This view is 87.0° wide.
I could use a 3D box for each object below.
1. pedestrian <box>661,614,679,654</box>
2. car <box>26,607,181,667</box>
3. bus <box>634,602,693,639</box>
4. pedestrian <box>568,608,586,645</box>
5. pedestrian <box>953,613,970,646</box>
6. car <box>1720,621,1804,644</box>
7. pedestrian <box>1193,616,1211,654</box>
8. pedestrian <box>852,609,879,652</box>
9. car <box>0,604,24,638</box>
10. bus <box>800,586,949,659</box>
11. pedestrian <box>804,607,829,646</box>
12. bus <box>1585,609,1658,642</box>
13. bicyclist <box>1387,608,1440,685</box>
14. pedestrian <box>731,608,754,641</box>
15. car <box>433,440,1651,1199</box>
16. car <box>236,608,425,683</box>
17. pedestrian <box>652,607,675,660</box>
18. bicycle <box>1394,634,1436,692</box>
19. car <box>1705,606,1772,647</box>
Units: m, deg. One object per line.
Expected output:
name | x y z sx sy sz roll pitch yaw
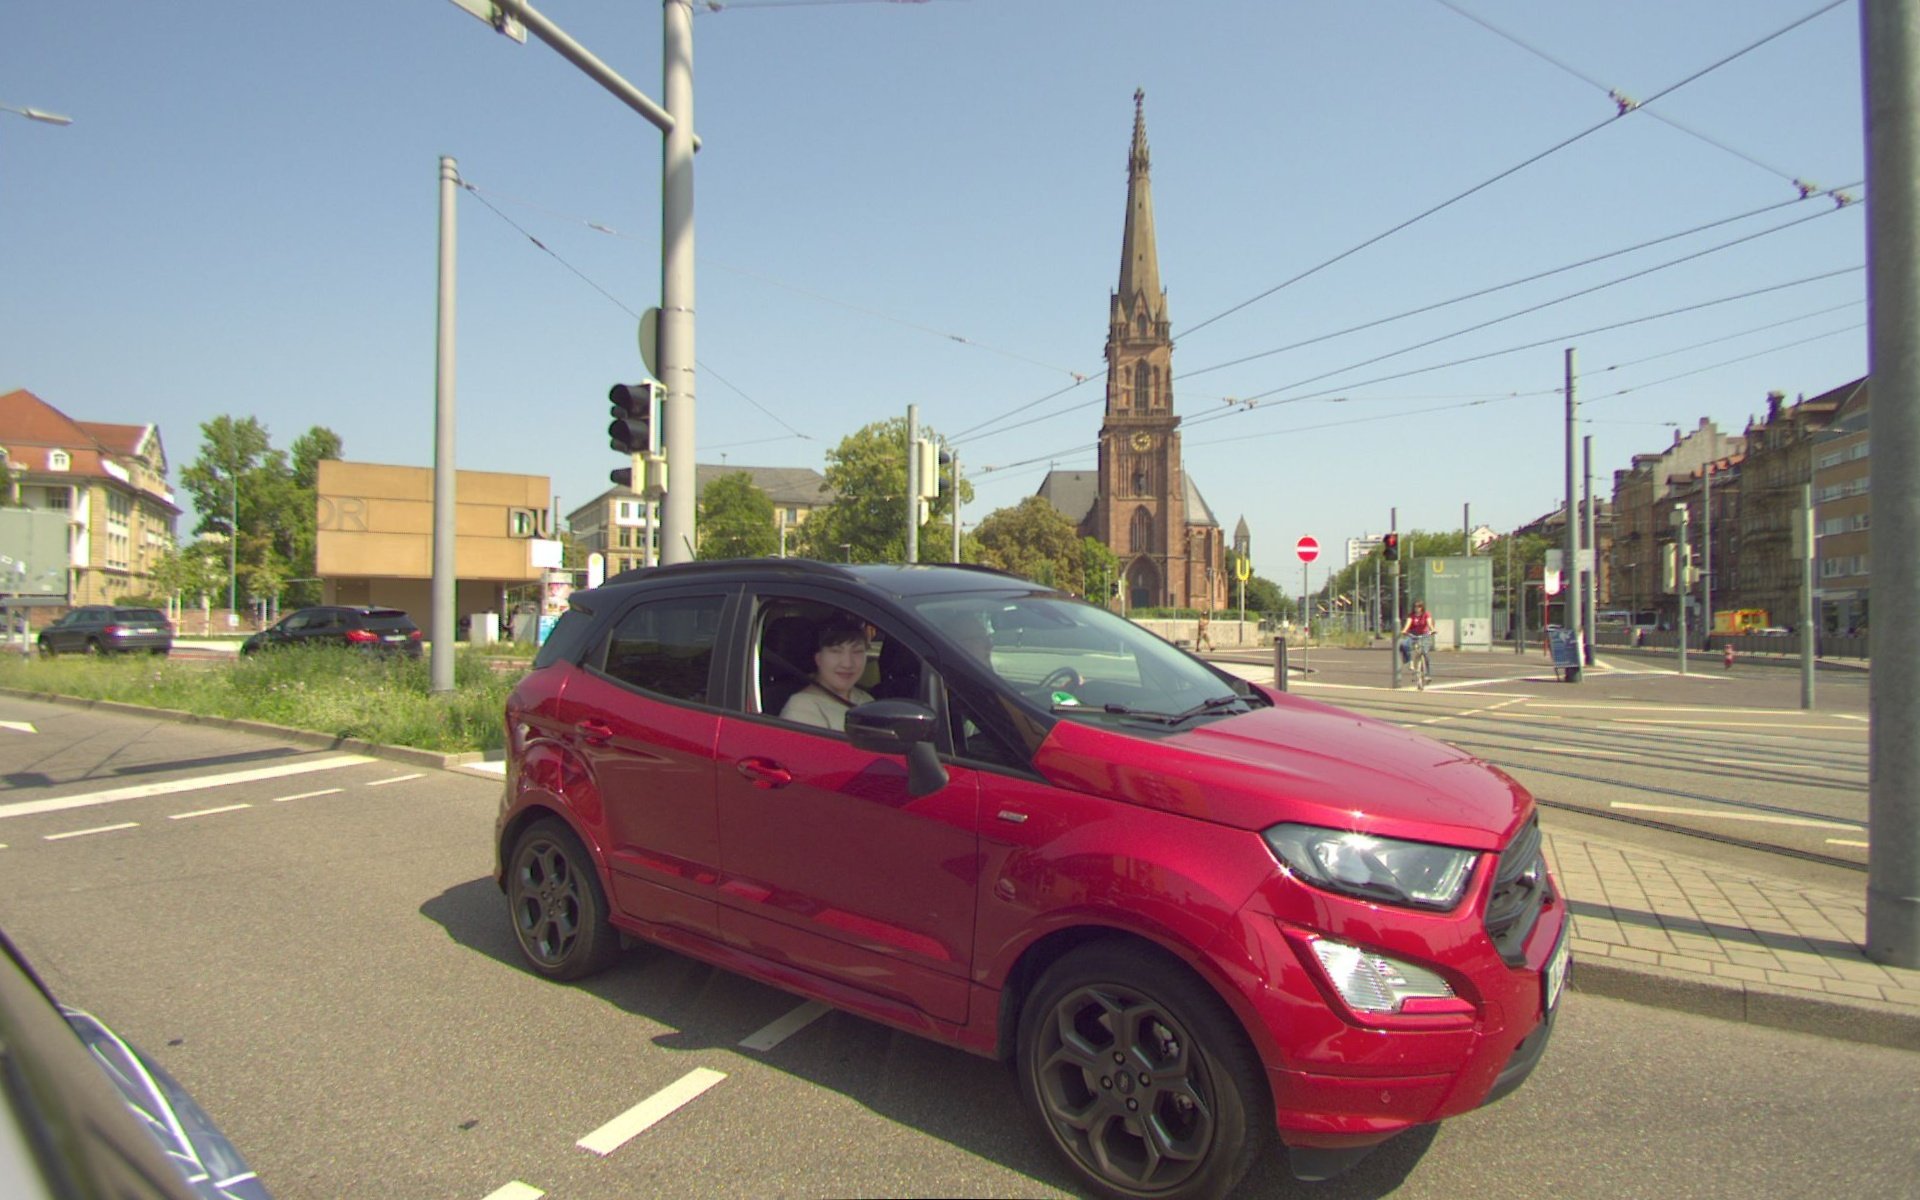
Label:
pedestrian | -10.079 1.170 35.193 0.349 1.385 0.456 -1 -2 36
car | -25.468 1.079 30.081 4.633 1.665 1.885 -1 -2 27
bus | -27.202 1.787 92.351 2.498 3.054 12.475 0 0 -29
pedestrian | -17.125 1.184 45.256 0.508 1.658 0.567 0 0 19
pedestrian | 0.066 1.405 47.867 0.567 1.540 0.602 2 -3 -28
car | 51.802 2.055 65.534 1.979 1.298 5.526 0 0 12
pedestrian | 10.618 1.531 44.412 0.566 1.671 0.801 0 0 -1
pedestrian | -3.980 1.283 42.476 0.779 1.793 0.953 0 -3 19
car | -55.775 1.198 57.746 1.965 1.985 4.012 1 -2 -19
bus | -4.795 1.152 52.730 2.631 3.356 12.797 1 -1 -29
pedestrian | -6.726 1.236 47.518 0.779 1.793 0.953 0 -3 19
bus | 65.028 2.538 99.785 2.520 3.055 12.367 0 -2 16
bicyclist | 8.945 0.911 19.994 0.871 1.470 0.973 -1 -2 21
pedestrian | -12.016 1.351 55.892 0.953 1.793 0.779 0 -3 23
car | -0.014 0.590 3.653 4.075 1.630 1.746 -1 -2 37
car | -13.821 0.965 22.248 3.679 1.532 1.668 -1 -2 21
pedestrian | -10.421 1.170 35.605 0.559 1.830 0.554 -1 -2 36
bicycle | 8.979 1.214 20.019 0.610 1.077 1.900 -1 -2 20
car | 58.370 2.014 76.029 2.289 2.910 5.561 -2 -2 20
